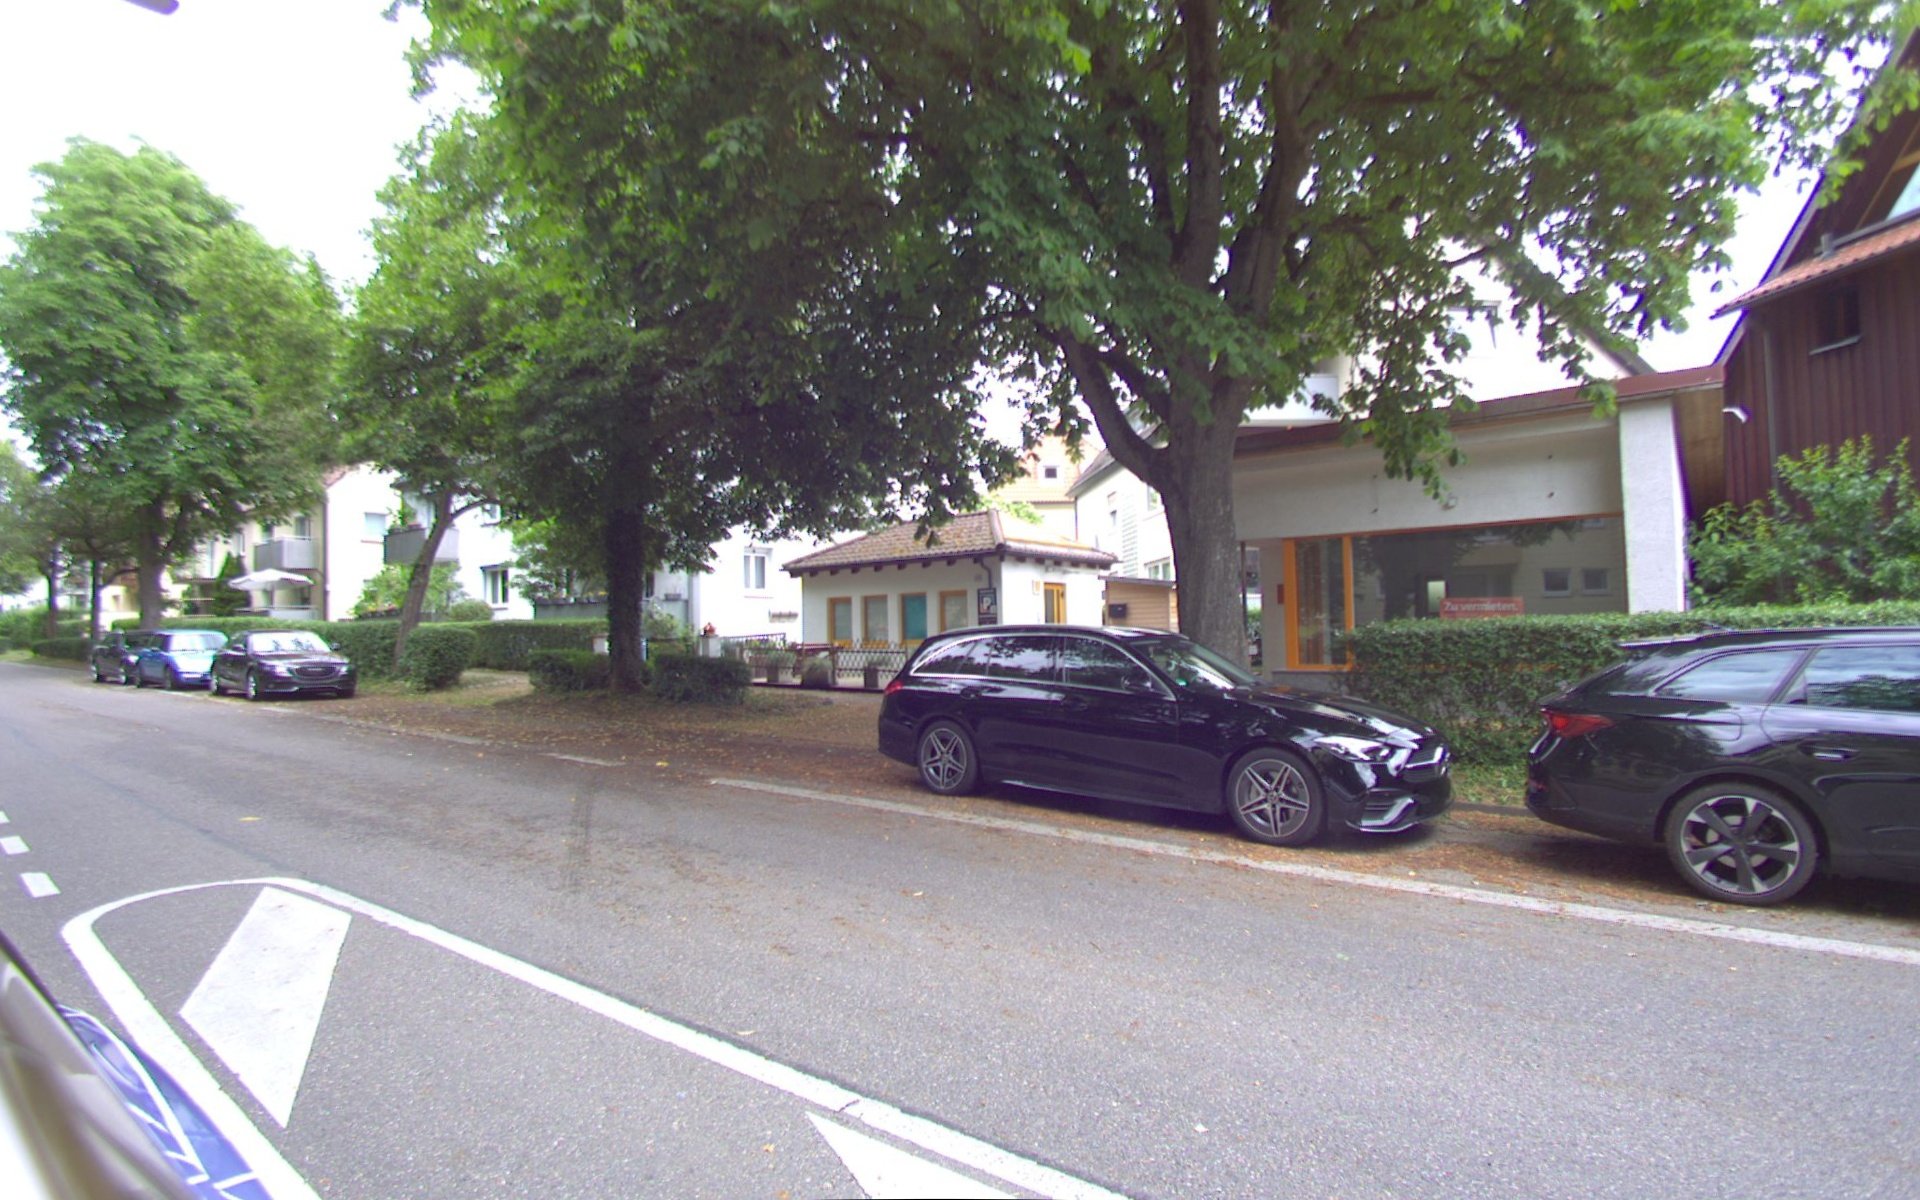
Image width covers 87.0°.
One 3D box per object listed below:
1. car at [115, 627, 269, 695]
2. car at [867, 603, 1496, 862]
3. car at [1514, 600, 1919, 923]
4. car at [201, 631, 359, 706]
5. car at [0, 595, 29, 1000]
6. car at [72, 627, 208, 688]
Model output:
[{"bbox_3d":[-18.921,1.459,24.863,4.558,1.512,1.866,-2,-3,37],"label":"car"},{"bbox_3d":[1.551,0.864,8.204,4.612,1.511,1.973,-2,-3,41],"label":"car"},{"bbox_3d":[5.446,0.756,4.992,4.536,1.497,1.674,-2,-3,38],"label":"car"},{"bbox_3d":[-14.227,1.374,21.096,4.169,1.414,1.713,-2,-3,41],"label":"car"},{"bbox_3d":[-5.926,0.775,4.600,4.612,1.511,1.973,-2,-3,41],"label":"car"},{"bbox_3d":[-22.610,1.557,27.855,4.558,1.545,1.866,-2,-3,37],"label":"car"}]
